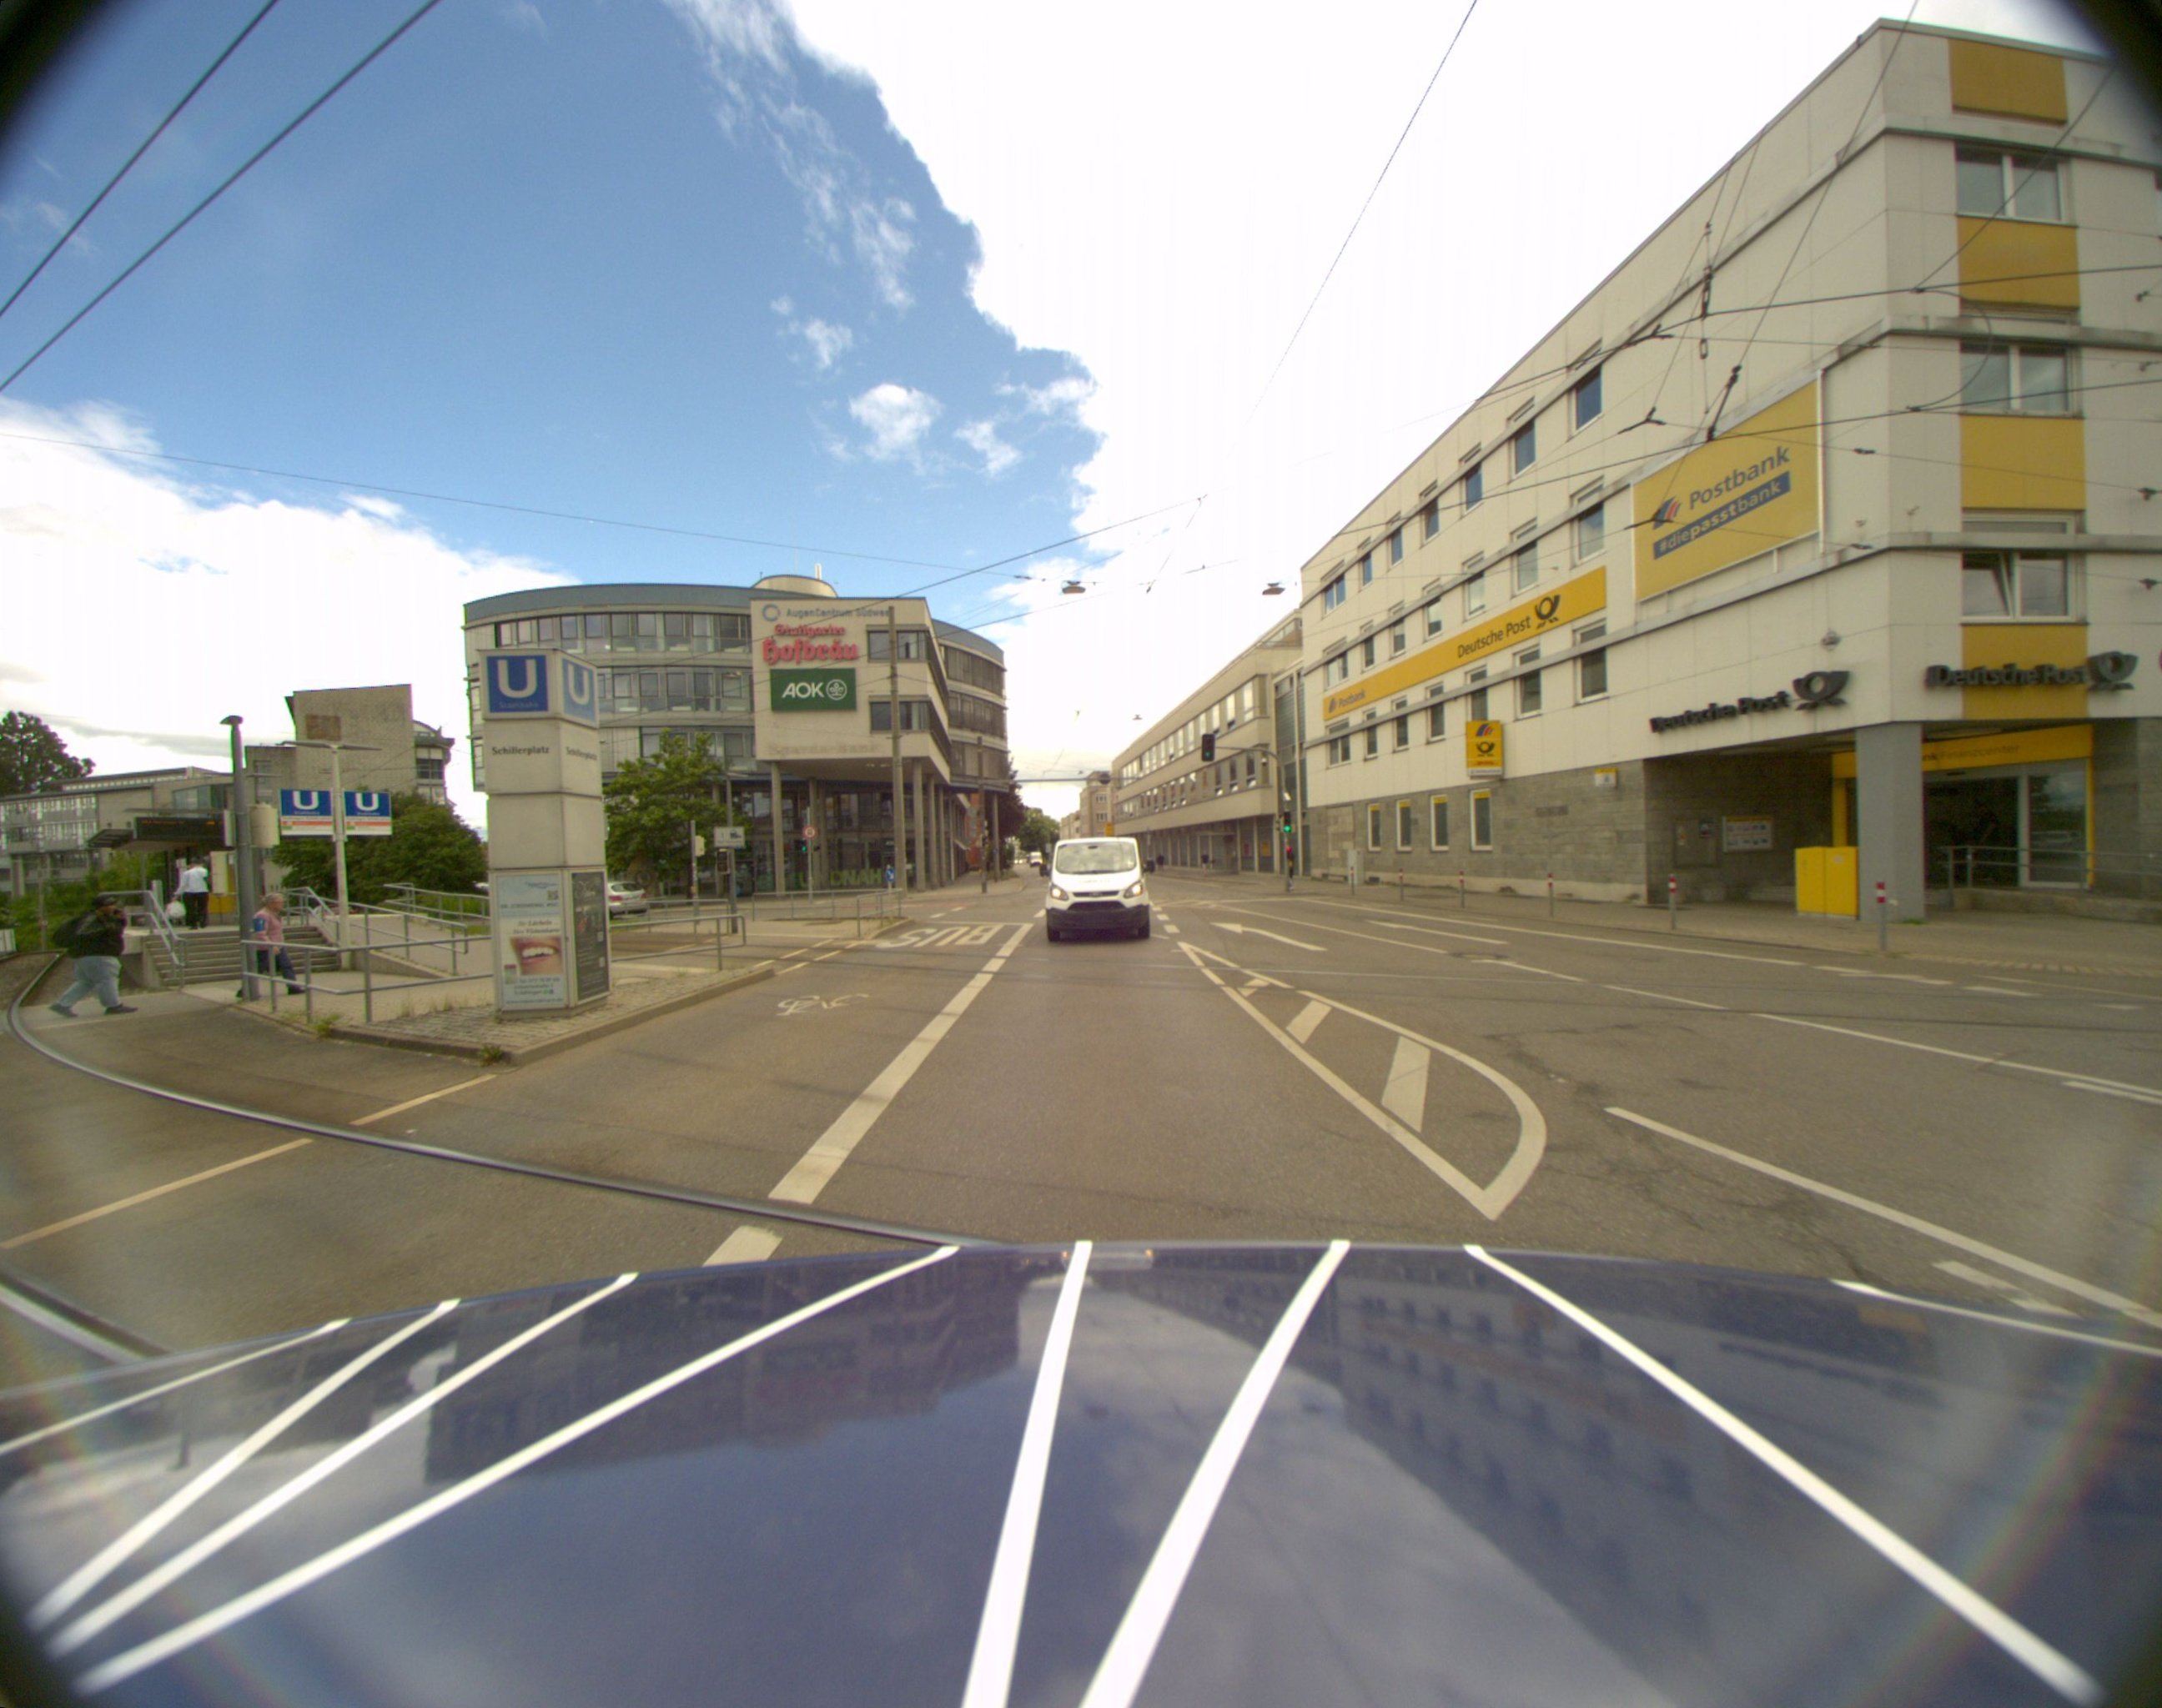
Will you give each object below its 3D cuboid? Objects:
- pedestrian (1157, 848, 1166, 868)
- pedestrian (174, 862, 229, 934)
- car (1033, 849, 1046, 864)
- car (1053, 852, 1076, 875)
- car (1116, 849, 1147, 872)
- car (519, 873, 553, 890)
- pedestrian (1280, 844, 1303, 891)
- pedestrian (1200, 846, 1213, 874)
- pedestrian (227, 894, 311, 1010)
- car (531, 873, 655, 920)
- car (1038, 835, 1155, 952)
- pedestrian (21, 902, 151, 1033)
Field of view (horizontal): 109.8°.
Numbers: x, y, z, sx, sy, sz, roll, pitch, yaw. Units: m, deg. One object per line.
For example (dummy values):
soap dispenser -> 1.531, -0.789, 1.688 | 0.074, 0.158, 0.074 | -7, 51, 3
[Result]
pedestrian -> 7.429, 0.344, 70.121 | 0.588, 1.793, 0.526 | -5, 1, -6
pedestrian -> -22.071, 1.098, 19.072 | 0.613, 1.734, 0.697 | -5, 1, 30
car -> -7.233, 0.379, 131.487 | 1.999, 2.401, 4.485 | -3, 0, -2
car -> -1.592, 0.852, 72.496 | 1.999, 2.002, 4.485 | -3, 0, -2
car -> 4.687, 0.557, 71.308 | 2.000, 2.002, 4.483 | -3, 0, -8
car -> -61.609, 3.120, 85.837 | 4.307, 1.700, 2.004 | -3, 1, 40
pedestrian -> 8.362, 0.525, 30.237 | 0.588, 1.793, 0.526 | -5, 1, -6
pedestrian -> 8.278, 0.370, 50.201 | 0.588, 1.793, 0.526 | -5, 1, -6
pedestrian -> -12.138, 1.438, 11.377 | 0.526, 1.625, 0.587 | -5, 1, -18
car -> -20.368, 1.767, 31.725 | 4.310, 1.700, 2.002 | -3, 1, 18
car -> 0.255, 0.696, 16.138 | 1.999, 2.002, 4.998 | -3, 0, -1
pedestrian -> -13.605, 1.519, 10.420 | 0.847, 1.625, 0.643 | -6, 1, -39
